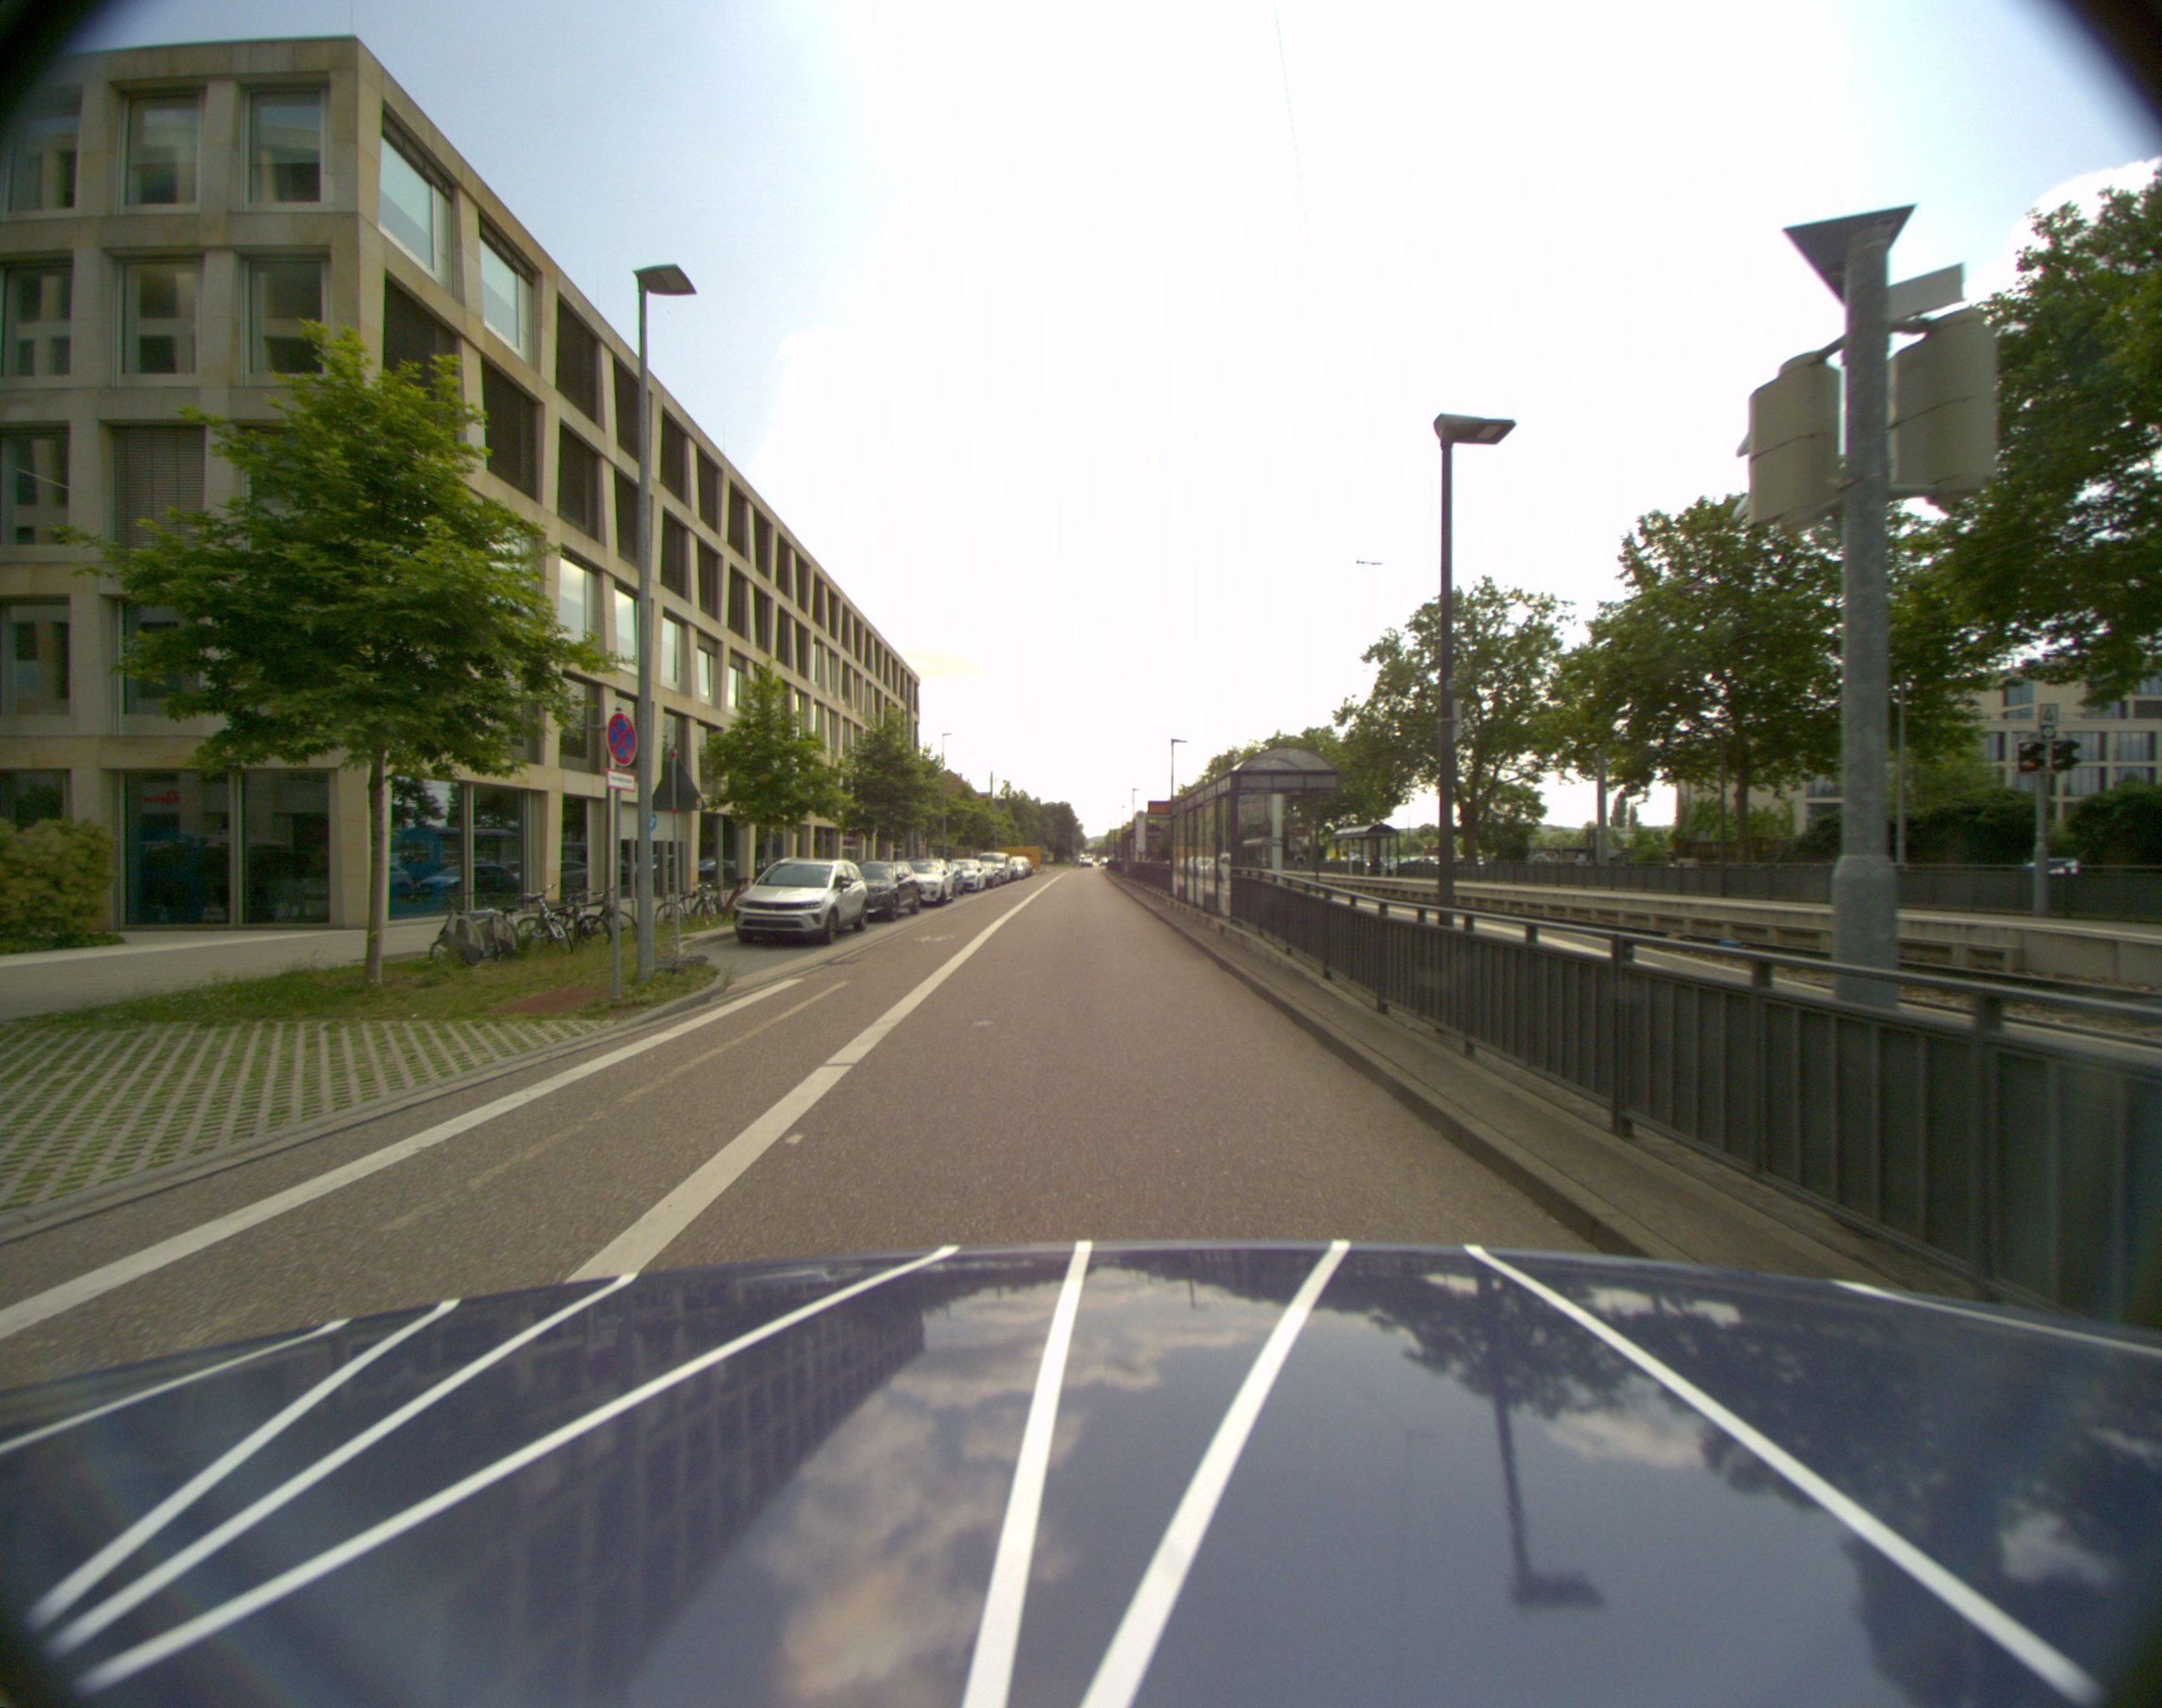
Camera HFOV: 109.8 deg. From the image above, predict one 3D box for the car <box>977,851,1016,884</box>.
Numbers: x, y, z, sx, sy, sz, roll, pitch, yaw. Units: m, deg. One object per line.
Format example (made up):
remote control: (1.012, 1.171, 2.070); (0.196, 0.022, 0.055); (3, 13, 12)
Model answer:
car: (-5.280, 0.790, 47.876); (1.886, 1.928, 4.843); (1, 0, 0)

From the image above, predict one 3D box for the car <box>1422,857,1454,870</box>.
car: (41.339, 1.072, 88.102); (1.802, 1.467, 4.000); (0, 0, 0)

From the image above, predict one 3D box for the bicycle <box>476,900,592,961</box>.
bicycle: (-8.857, 1.232, 12.337); (1.499, 0.912, 0.505); (0, 3, 3)

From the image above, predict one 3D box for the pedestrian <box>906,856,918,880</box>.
pedestrian: (-11.344, 0.936, 50.985); (0.639, 1.542, 0.905); (0, 0, 0)

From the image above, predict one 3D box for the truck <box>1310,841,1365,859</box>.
truck: (64.125, -0.987, 190.298); (12.819, 4.050, 2.748); (1, 1, 2)

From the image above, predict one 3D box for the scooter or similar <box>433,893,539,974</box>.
scooter or similar: (-9.139, 1.208, 11.703); (1.054, 1.168, 0.719); (-1, 1, 4)

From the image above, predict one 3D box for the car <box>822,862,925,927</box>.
car: (-5.492, 1.013, 20.590); (1.690, 1.539, 3.926); (1, 0, 0)

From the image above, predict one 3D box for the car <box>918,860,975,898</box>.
car: (-5.618, 1.016, 32.126); (1.690, 1.449, 3.950); (1, 0, 0)

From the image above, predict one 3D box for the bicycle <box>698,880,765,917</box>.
bicycle: (-9.110, 1.159, 19.819); (1.499, 0.912, 0.505); (0, 3, 3)

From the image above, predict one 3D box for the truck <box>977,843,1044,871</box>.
truck: (-7.269, 0.301, 79.107); (6.824, 2.851, 2.454); (0, 1, -2)

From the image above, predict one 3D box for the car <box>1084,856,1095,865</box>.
car: (1.542, 1.136, 134.317); (1.784, 1.531, 4.420); (1, 0, -1)

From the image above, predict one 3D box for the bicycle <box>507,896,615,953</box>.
bicycle: (-8.973, 1.207, 13.135); (1.499, 0.912, 0.505); (0, 3, 3)

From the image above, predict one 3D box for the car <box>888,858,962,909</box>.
car: (-5.344, 0.970, 26.535); (1.690, 1.596, 4.151); (1, 0, 0)

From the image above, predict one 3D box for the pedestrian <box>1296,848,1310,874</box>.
pedestrian: (15.758, 0.491, 53.883); (0.708, 1.834, 0.864); (0, 1, -3)

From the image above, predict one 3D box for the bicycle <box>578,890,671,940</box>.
bicycle: (-8.933, 1.186, 14.902); (1.499, 0.912, 0.505); (0, 3, 3)

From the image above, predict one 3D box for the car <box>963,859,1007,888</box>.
car: (-5.297, 1.052, 42.448); (1.886, 1.478, 4.563); (1, 0, 0)

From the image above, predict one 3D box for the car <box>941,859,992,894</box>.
car: (-5.506, 1.038, 36.979); (1.797, 1.521, 4.158); (1, 0, 0)

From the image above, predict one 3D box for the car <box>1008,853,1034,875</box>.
car: (-4.991, 0.826, 63.546); (1.773, 1.757, 4.839); (0, 0, 0)

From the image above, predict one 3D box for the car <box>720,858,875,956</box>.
car: (-5.514, 0.945, 15.316); (1.690, 1.624, 3.989); (2, 0, -2)

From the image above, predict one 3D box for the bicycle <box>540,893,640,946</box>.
bicycle: (-9.009, 1.203, 13.971); (1.499, 0.912, 0.505); (0, 3, 3)

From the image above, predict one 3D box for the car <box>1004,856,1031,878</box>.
car: (-4.909, 0.986, 58.861); (1.725, 1.610, 3.860); (0, 0, 0)

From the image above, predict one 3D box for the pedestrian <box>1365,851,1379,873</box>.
pedestrian: (16.737, 0.461, 43.738); (0.554, 1.262, 0.768); (0, 0, 2)

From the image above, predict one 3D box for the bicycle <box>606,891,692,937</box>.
bicycle: (-9.023, 1.245, 15.889); (1.499, 0.912, 0.505); (0, 3, 3)

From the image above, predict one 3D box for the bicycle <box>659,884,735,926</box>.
bicycle: (-9.009, 1.189, 17.847); (1.499, 0.912, 0.505); (0, 3, 3)

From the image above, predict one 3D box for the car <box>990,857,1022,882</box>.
car: (-5.156, 1.046, 52.826); (1.725, 1.631, 4.527); (1, 0, 0)

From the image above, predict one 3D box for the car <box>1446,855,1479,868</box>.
car: (44.220, 0.836, 88.151); (1.802, 1.467, 4.000); (0, 0, 0)
